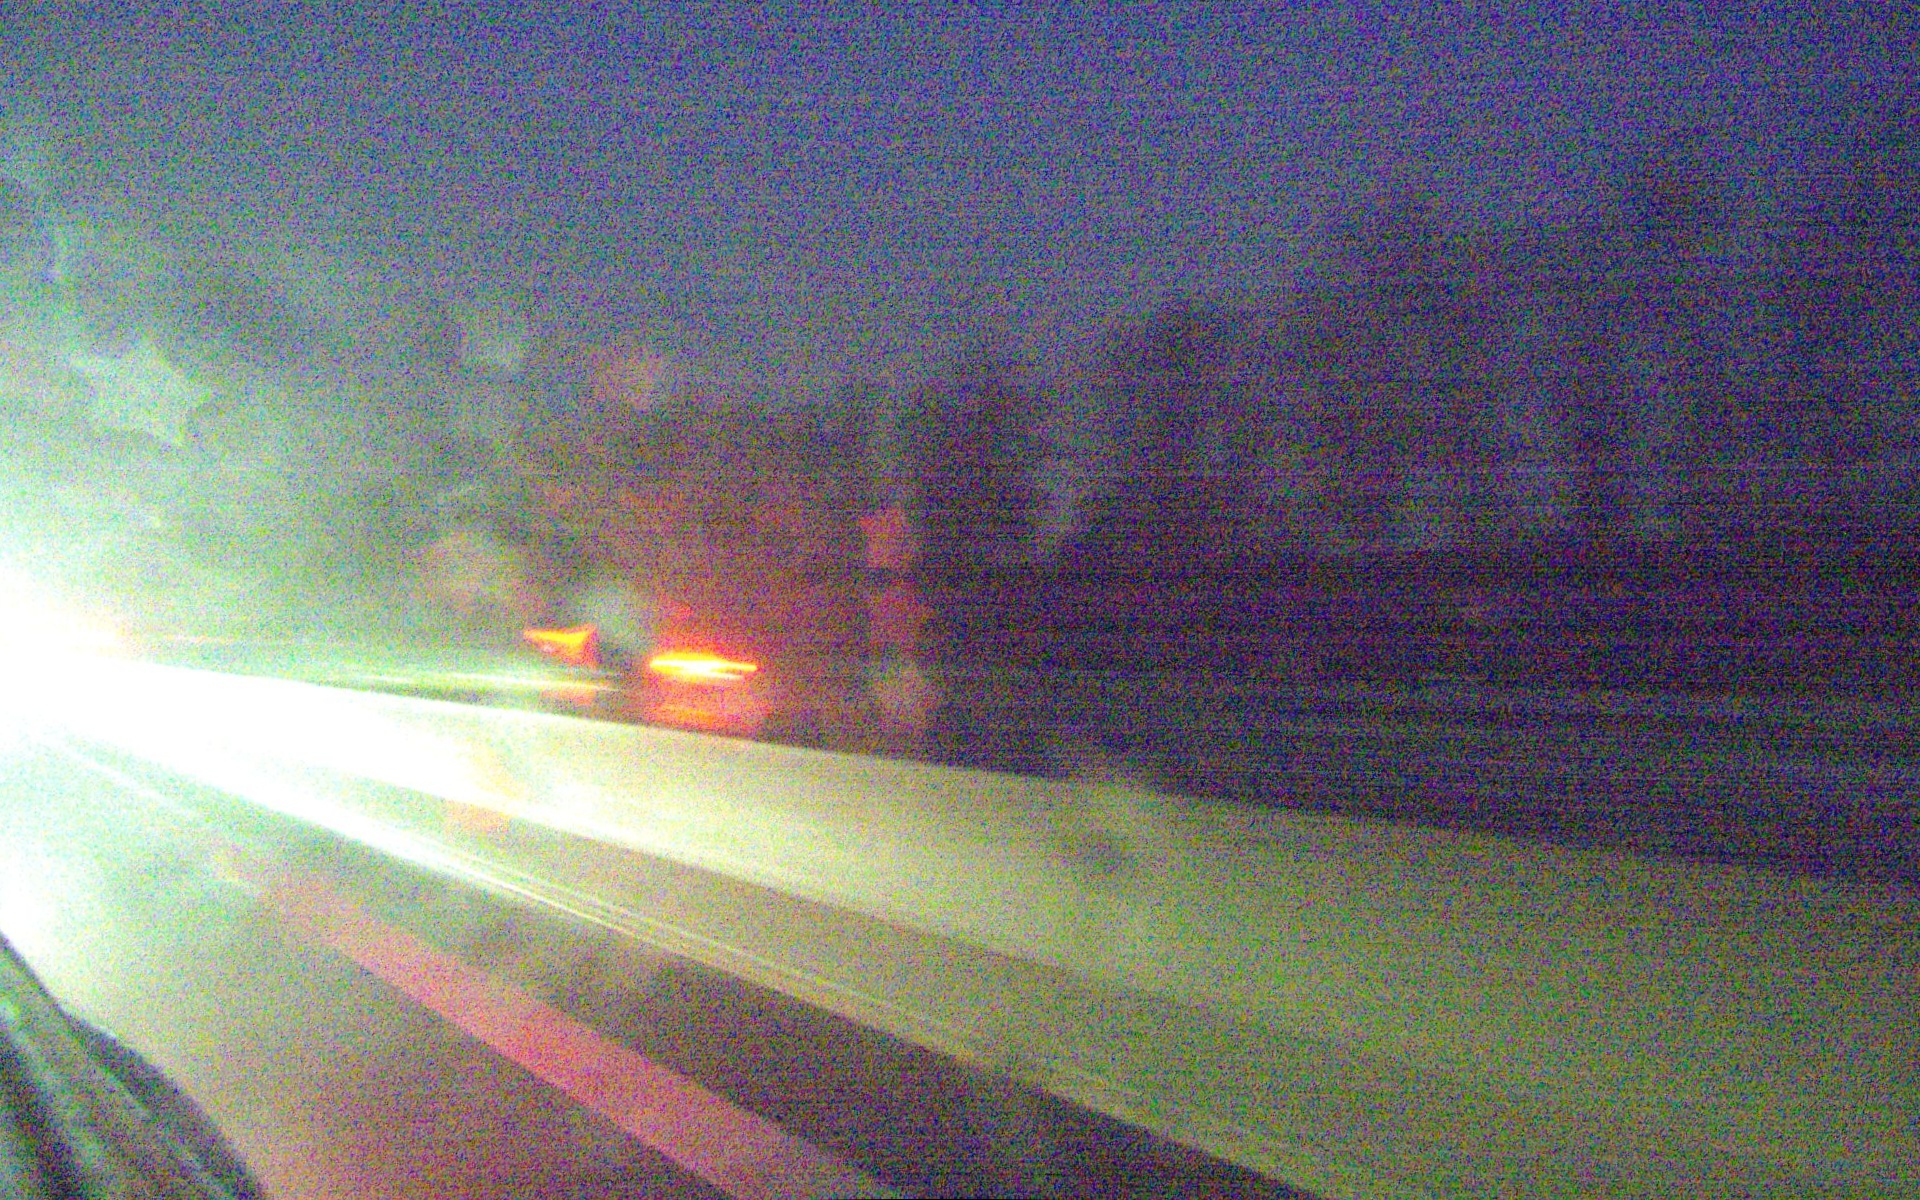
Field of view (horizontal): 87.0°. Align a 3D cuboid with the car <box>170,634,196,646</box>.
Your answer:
[{"bbox_3d":[-99.535,5.077,129.697,4.506,1.491,1.763,-2,-4,41],"label":"car"}]

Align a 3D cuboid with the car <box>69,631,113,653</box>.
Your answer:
[{"bbox_3d":[-62.332,3.000,72.562,4.506,1.491,1.763,-2,-4,41],"label":"car"}]

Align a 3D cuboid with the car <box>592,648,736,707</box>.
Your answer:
[{"bbox_3d":[-8.411,2.133,28.550,4.506,1.491,1.763,-2,-4,41],"label":"car"}]

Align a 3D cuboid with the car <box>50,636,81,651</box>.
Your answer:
[{"bbox_3d":[-92.568,4.476,104.695,4.506,1.491,1.763,-2,-4,41],"label":"car"}]

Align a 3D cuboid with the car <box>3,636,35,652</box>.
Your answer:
[{"bbox_3d":[-89.200,4.176,95.934,4.506,1.491,1.763,-2,-4,41],"label":"car"}]

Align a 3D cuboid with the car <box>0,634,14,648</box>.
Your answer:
[{"bbox_3d":[-110.915,4.737,117.019,4.506,1.491,1.763,-2,-4,41],"label":"car"}]
